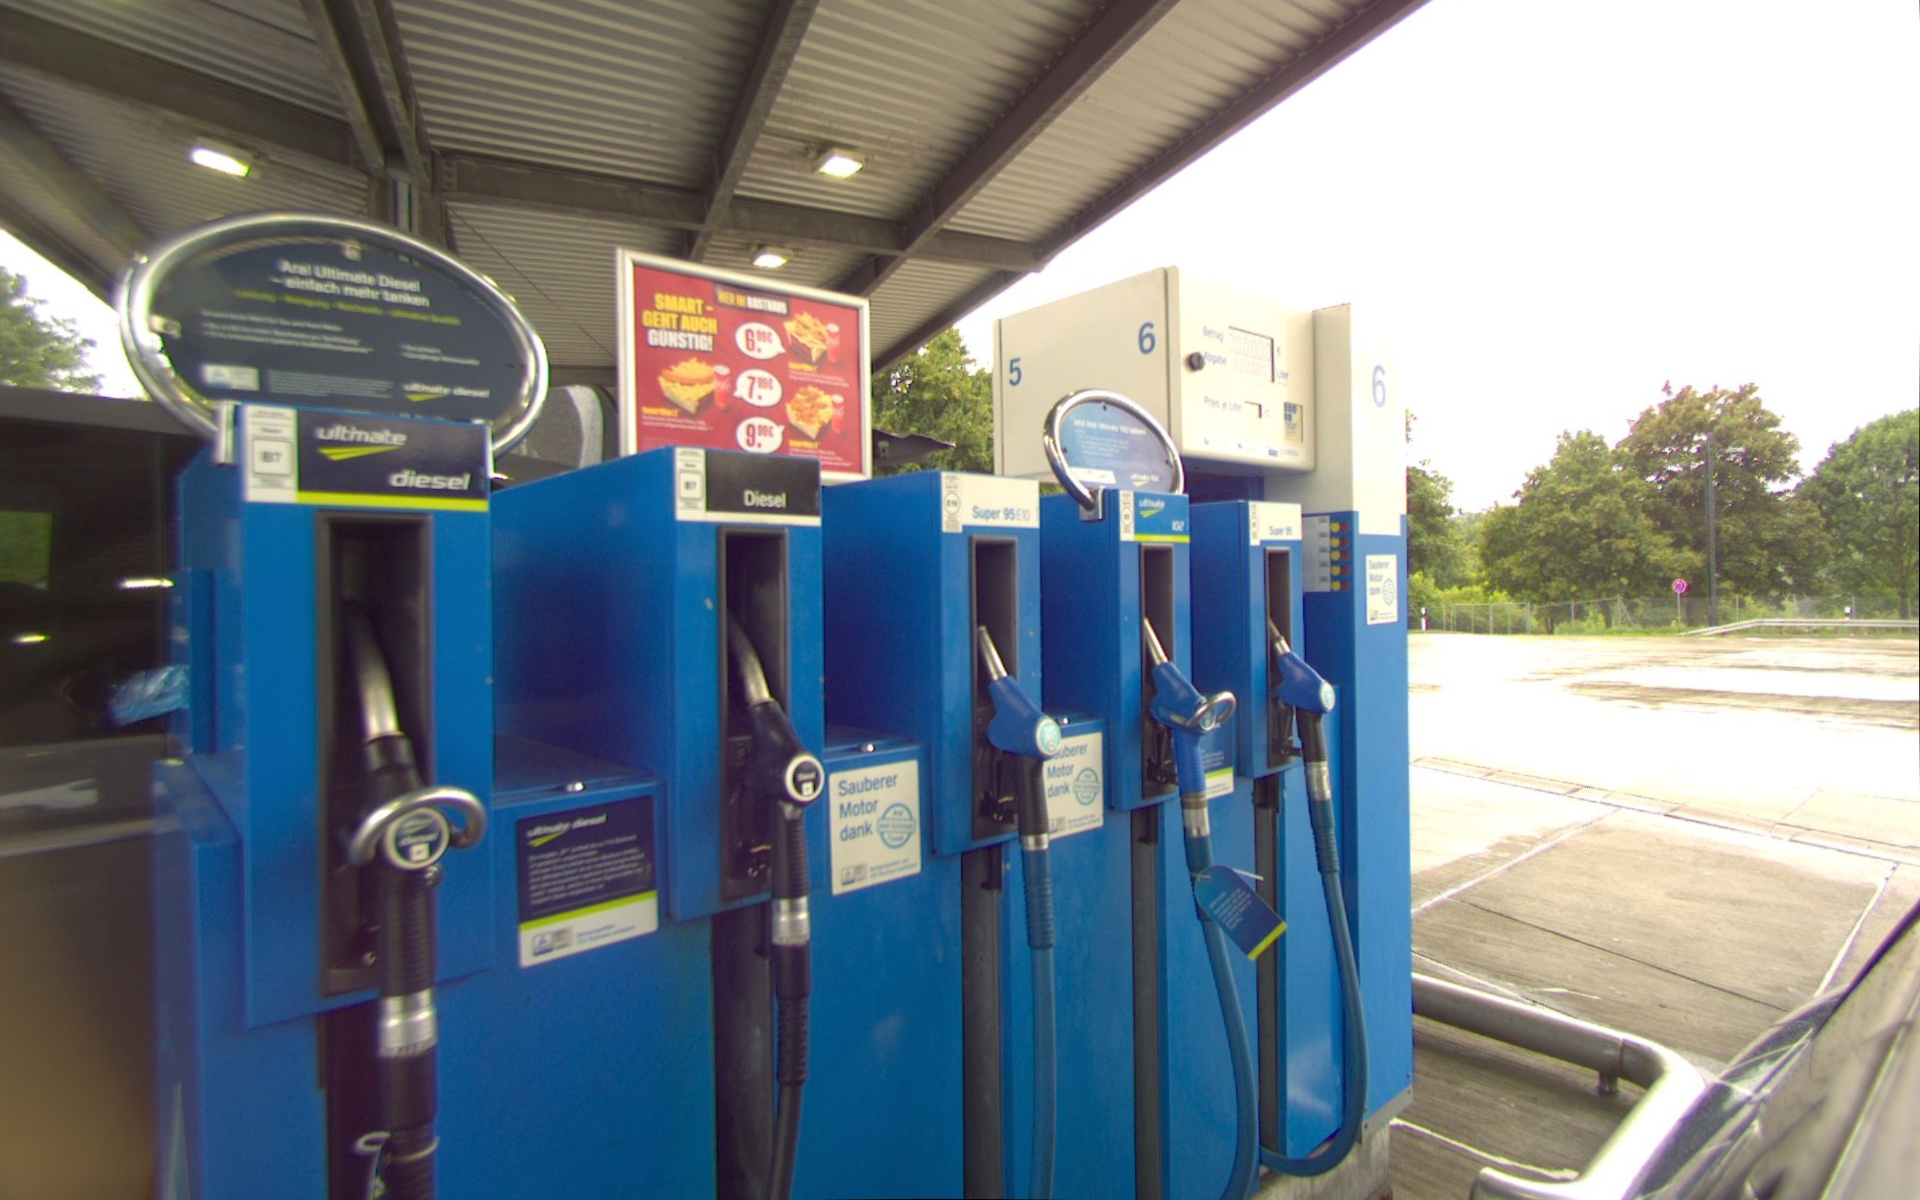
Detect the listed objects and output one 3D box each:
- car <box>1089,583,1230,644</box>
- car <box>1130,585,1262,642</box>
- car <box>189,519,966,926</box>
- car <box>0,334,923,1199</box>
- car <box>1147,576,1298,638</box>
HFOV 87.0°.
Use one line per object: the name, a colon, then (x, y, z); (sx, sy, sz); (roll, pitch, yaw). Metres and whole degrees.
car: (5.861, 0.376, 29.725); (3.941, 1.680, 1.593); (1, 0, 14)
car: (7.415, 0.387, 31.915); (3.941, 1.680, 1.593); (1, 0, 14)
car: (-2.246, 0.520, 6.698); (4.460, 1.821, 1.864); (-1, 0, -41)
car: (-2.610, 0.504, 1.812); (5.050, 1.821, 1.864); (-1, 0, -41)
car: (8.877, 0.209, 34.498); (4.817, 1.974, 2.306); (1, 1, 14)
